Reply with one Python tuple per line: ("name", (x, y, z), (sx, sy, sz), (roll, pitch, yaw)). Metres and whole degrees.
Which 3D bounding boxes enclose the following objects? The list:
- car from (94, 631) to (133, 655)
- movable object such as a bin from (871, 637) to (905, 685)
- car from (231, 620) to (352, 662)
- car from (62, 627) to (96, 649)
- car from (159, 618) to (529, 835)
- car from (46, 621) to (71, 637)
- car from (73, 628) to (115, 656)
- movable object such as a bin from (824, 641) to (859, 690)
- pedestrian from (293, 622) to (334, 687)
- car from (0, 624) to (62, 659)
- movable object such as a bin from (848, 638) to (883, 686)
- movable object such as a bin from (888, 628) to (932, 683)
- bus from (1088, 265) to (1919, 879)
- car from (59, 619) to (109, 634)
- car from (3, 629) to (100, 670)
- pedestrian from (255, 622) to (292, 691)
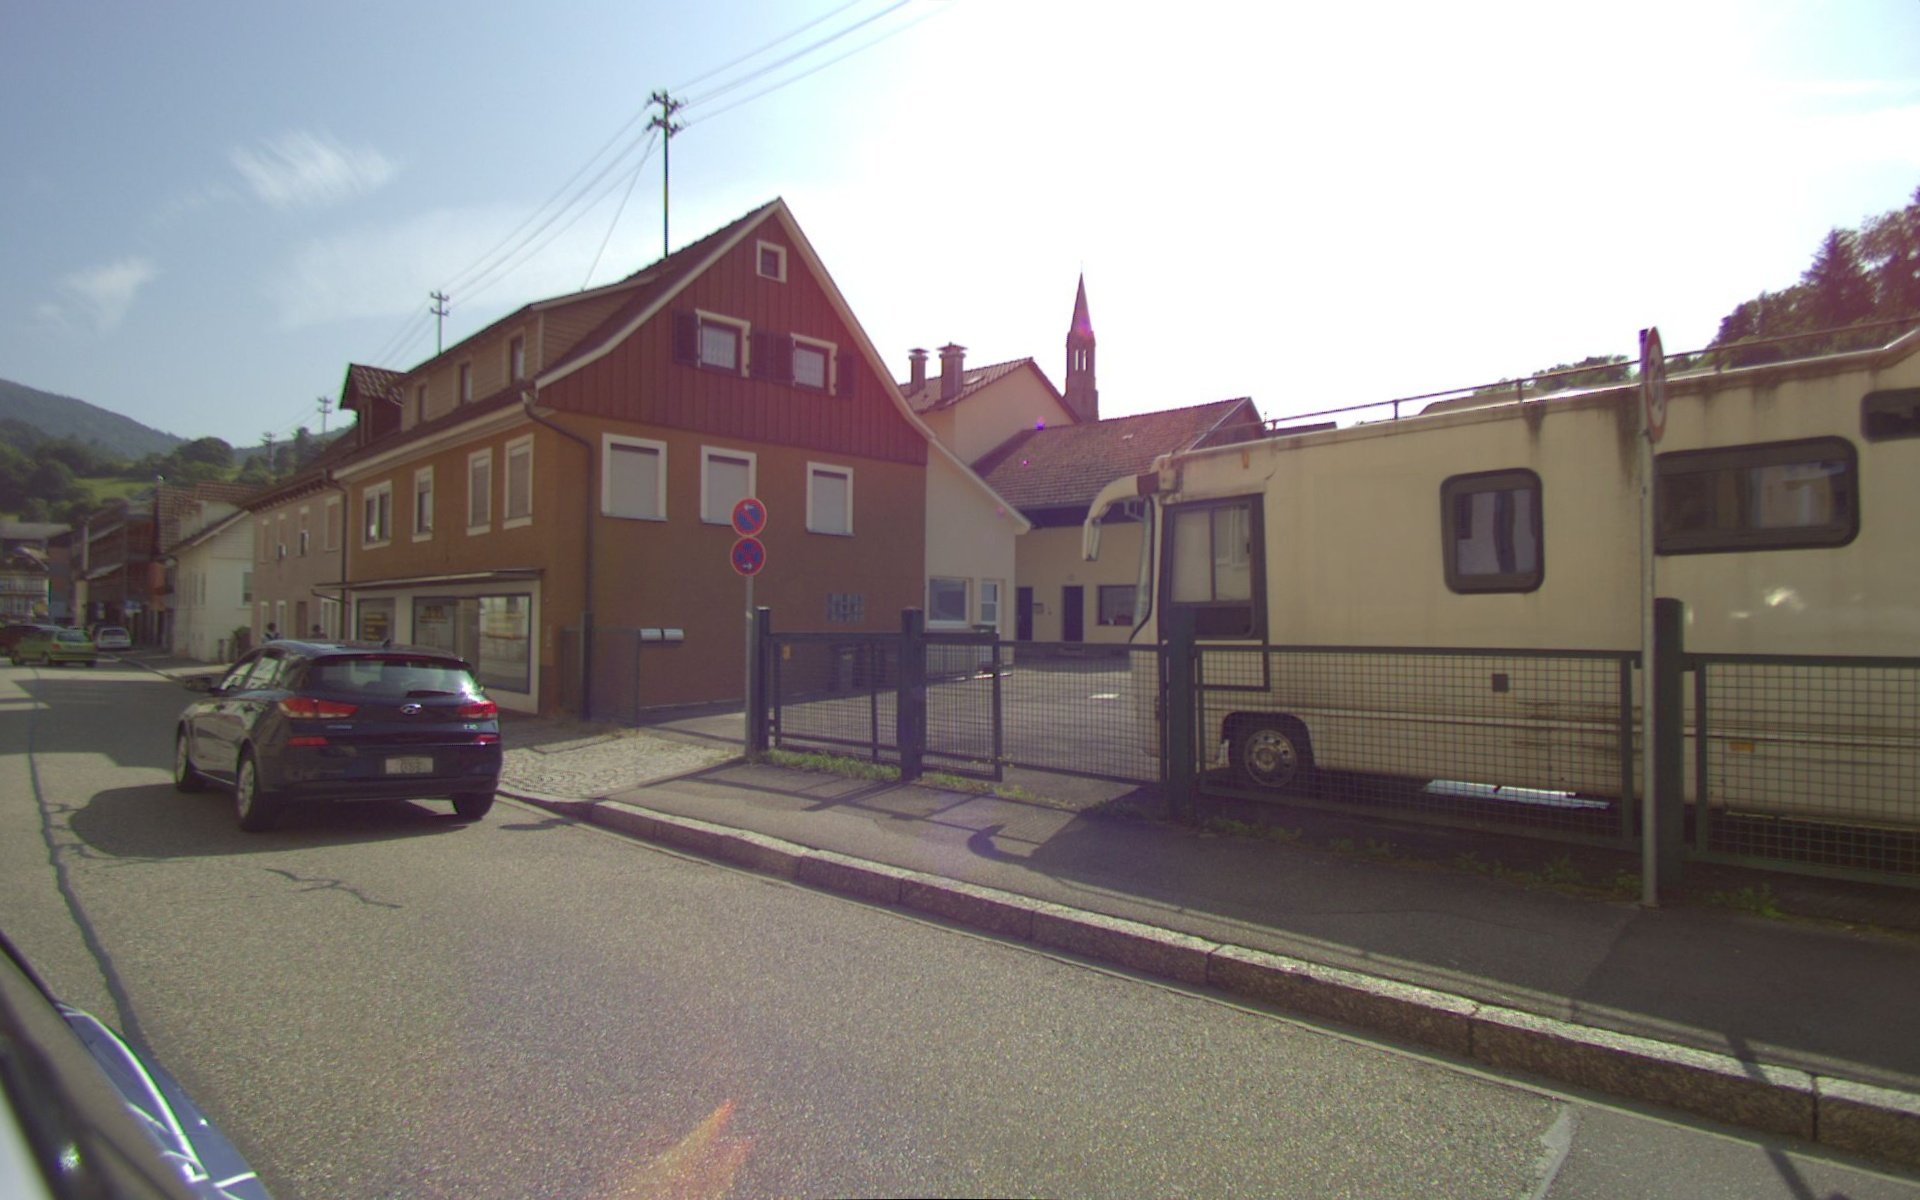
("car", (-53.044, 2.681, 63.380), (1.646, 1.443, 3.571), (-1, -1, -43))
("movable object such as a bin", (-1.462, 1.231, 20.583), (0.472, 0.929, 0.486), (0, -1, -44))
("car", (-28.176, 1.694, 42.714), (1.908, 1.606, 3.942), (-2, -1, 44))
("car", (-66.297, 2.852, 76.154), (3.766, 1.567, 1.655), (-2, -2, 45))
("car", (-5.546, 0.995, 8.895), (4.028, 1.464, 1.728), (-3, -7, 44))
("car", (-94.590, 3.040, 106.187), (1.762, 1.587, 3.891), (-2, 1, -45))
("car", (-57.481, 2.781, 67.160), (4.270, 1.810, 1.701), (-1, -2, 44))
("movable object such as a bin", (-2.321, 1.271, 19.816), (0.472, 0.929, 0.486), (0, -1, -44))
("pedestrian", (-16.385, 1.367, 25.658), (0.726, 1.576, 0.825), (-1, -1, -43))
("car", (-47.799, 2.103, 50.879), (3.954, 1.675, 1.819), (-1, -3, 9))
("movable object such as a bin", (-1.895, 1.232, 20.252), (0.472, 0.929, 0.486), (0, -1, -44))
("movable object such as a bin", (-1.048, 1.141, 21.093), (0.537, 1.102, 0.745), (0, -1, -44))
("bus", (5.395, -0.139, 7.001), (9.037, 3.252, 2.789), (-2, -1, 44))
("car", (-98.918, 3.013, 114.258), (1.832, 1.697, 3.950), (-3, -3, 37))
("car", (-35.905, 1.956, 39.986), (3.642, 1.475, 1.587), (0, -5, 28))
("pedestrian", (-16.934, 1.369, 24.956), (0.632, 1.638, 0.778), (-1, 0, -42))
